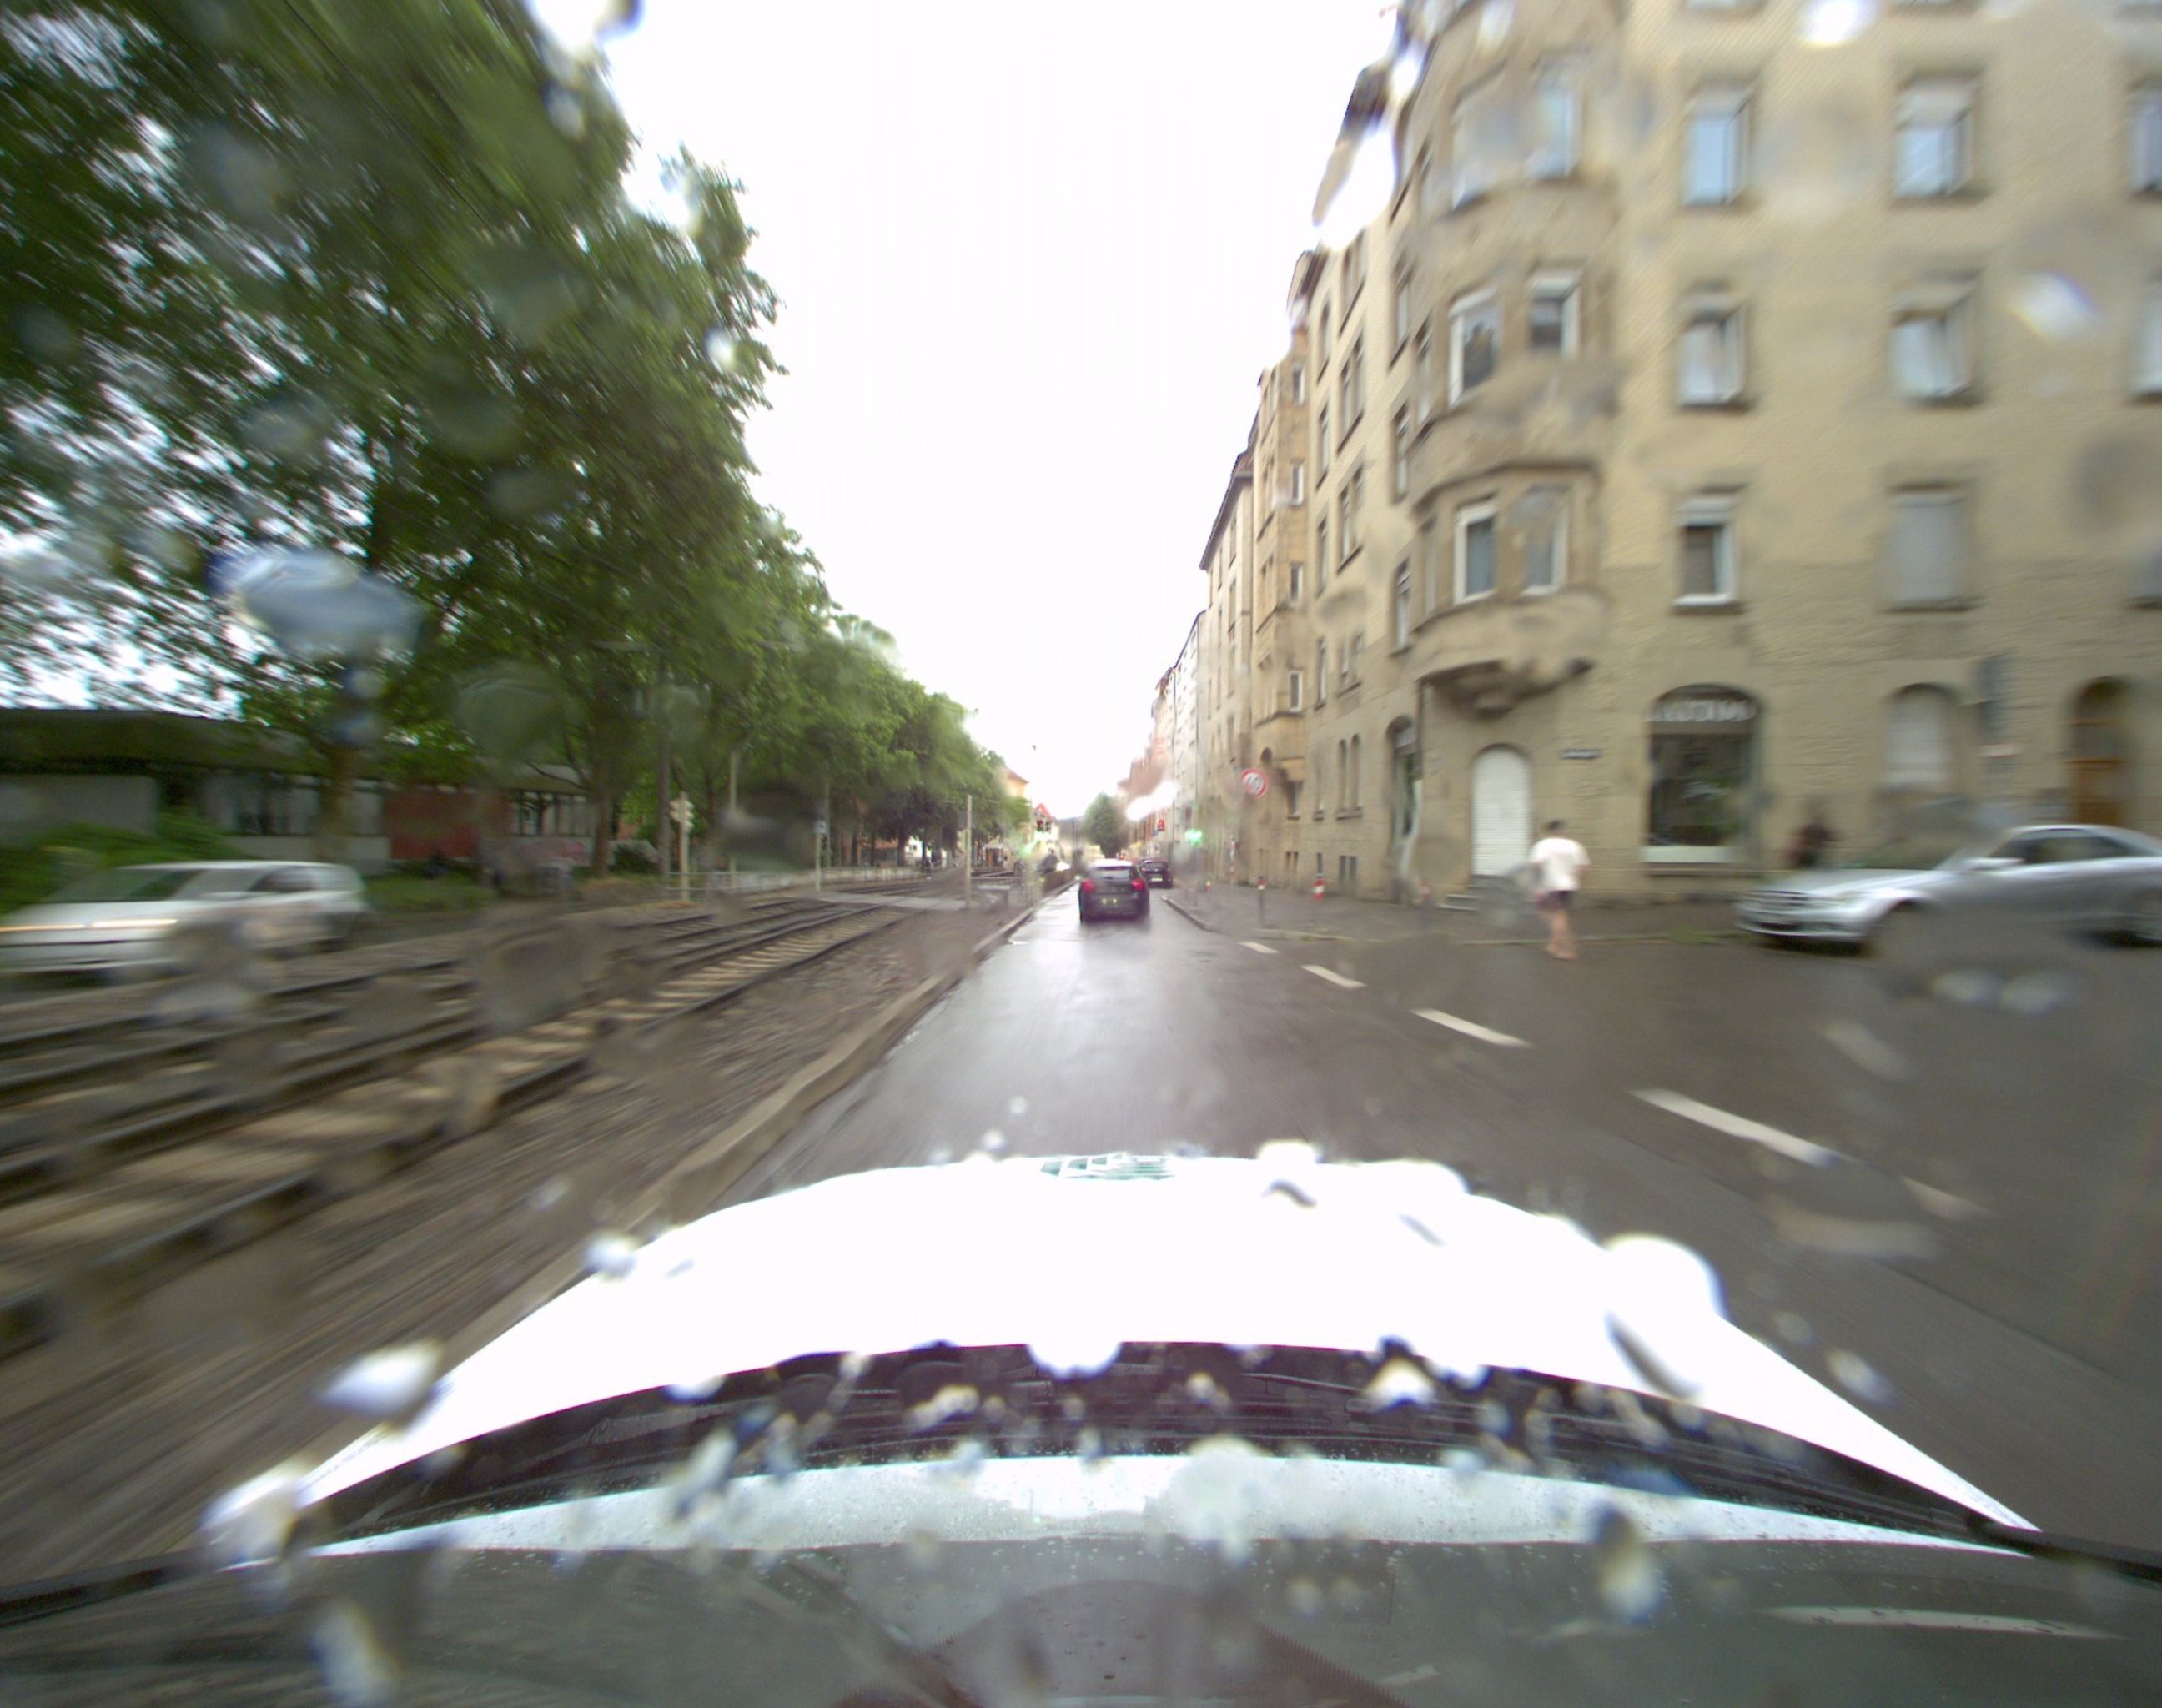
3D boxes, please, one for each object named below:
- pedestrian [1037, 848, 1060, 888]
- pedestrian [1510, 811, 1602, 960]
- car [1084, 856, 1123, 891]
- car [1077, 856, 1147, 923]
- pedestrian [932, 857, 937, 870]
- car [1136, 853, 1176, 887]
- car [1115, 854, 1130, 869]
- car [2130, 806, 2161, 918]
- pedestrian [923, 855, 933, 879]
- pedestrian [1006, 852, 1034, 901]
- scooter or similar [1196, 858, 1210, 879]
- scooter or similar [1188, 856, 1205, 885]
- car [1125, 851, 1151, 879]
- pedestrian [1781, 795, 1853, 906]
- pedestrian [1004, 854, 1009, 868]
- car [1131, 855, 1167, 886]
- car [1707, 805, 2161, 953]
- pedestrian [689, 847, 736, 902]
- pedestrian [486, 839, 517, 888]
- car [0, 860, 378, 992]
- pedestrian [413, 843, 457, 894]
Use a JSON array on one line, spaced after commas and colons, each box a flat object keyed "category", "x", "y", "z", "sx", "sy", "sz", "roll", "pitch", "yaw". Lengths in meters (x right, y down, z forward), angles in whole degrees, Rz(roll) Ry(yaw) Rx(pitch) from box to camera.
[{"category": "pedestrian", "x": -1.703, "y": 0.714, "z": 42.858, "sx": 1.135, "sy": 1.998, "sz": 1.171, "roll": -2, "pitch": 0, "yaw": -3}, {"category": "pedestrian", "x": 5.982, "y": 0.385, "z": 10.293, "sx": 0.691, "sy": 1.787, "sz": 0.759, "roll": -3, "pitch": 0, "yaw": 6}, {"category": "car", "x": 1.078, "y": 0.906, "z": 39.415, "sx": 1.779, "sy": 1.581, "sz": 4.001, "roll": -1, "pitch": 0, "yaw": 1}, {"category": "car", "x": 0.728, "y": 0.812, "z": 20.323, "sx": 1.575, "sy": 1.505, "sz": 3.575, "roll": -1, "pitch": 0, "yaw": 1}, {"category": "pedestrian", "x": -18.261, "y": 1.183, "z": 101.626, "sx": 0.517, "sy": 1.596, "sz": 0.600, "roll": -1, "pitch": 0, "yaw": 2}, {"category": "car", "x": 3.894, "y": 0.793, "z": 42.945, "sx": 1.820, "sy": 1.618, "sz": 3.865, "roll": -2, "pitch": 0, "yaw": 1}, {"category": "car", "x": 6.096, "y": 1.043, "z": 119.764, "sx": 1.986, "sy": 2.013, "sz": 4.002, "roll": -2, "pitch": 0, "yaw": 2}, {"category": "car", "x": 15.833, "y": -0.010, "z": 9.714, "sx": 4.263, "sy": 1.420, "sz": 1.777, "roll": -3, "pitch": 0, "yaw": 1}, {"category": "pedestrian", "x": -11.058, "y": 0.953, "z": 58.982, "sx": 0.532, "sy": 1.754, "sz": 0.607, "roll": 1, "pitch": 0, "yaw": 1}, {"category": "pedestrian", "x": -2.081, "y": 0.763, "z": 27.924, "sx": 0.803, "sy": 1.633, "sz": 0.892, "roll": -2, "pitch": 0, "yaw": 1}, {"category": "scooter or similar", "x": 8.021, "y": 0.970, "z": 53.760, "sx": 0.448, "sy": 1.321, "sz": 1.774, "roll": -2, "pitch": 0, "yaw": -6}, {"category": "scooter or similar", "x": 5.497, "y": 0.793, "z": 38.848, "sx": 0.447, "sy": 1.321, "sz": 1.776, "roll": -2, "pitch": 0, "yaw": -1}, {"category": "car", "x": 4.340, "y": 0.820, "z": 62.582, "sx": 1.753, "sy": 2.013, "sz": 4.001, "roll": -2, "pitch": 0, "yaw": 1}, {"category": "pedestrian", "x": 11.542, "y": -0.056, "z": 12.791, "sx": 0.545, "sy": 1.688, "sz": 0.627, "roll": -1, "pitch": 0, "yaw": 5}, {"category": "pedestrian", "x": -9.062, "y": 0.854, "z": 98.786, "sx": 0.516, "sy": 1.717, "sz": 0.551, "roll": 1, "pitch": 0, "yaw": 1}, {"category": "car", "x": 3.875, "y": 0.922, "z": 47.102, "sx": 1.753, "sy": 1.579, "sz": 4.001, "roll": -2, "pitch": 0, "yaw": 1}, {"category": "car", "x": 10.500, "y": 0.271, "z": 9.868, "sx": 4.319, "sy": 1.531, "sz": 1.893, "roll": -2, "pitch": 0, "yaw": 3}, {"category": "pedestrian", "x": -11.603, "y": 0.628, "z": 25.667, "sx": 1.050, "sy": 1.718, "sz": 0.904, "roll": 0, "pitch": 0, "yaw": 2}, {"category": "pedestrian", "x": -19.949, "y": 0.320, "z": 28.036, "sx": 0.694, "sy": 1.662, "sz": 0.638, "roll": -1, "pitch": 0, "yaw": -18}, {"category": "car", "x": -12.301, "y": 0.862, "z": 11.611, "sx": 1.657, "sy": 1.497, "sz": 3.775, "roll": -1, "pitch": 0, "yaw": -8}, {"category": "pedestrian", "x": -22.130, "y": 0.490, "z": 27.921, "sx": 0.614, "sy": 1.683, "sz": 1.015, "roll": -2, "pitch": 0, "yaw": 2}]
